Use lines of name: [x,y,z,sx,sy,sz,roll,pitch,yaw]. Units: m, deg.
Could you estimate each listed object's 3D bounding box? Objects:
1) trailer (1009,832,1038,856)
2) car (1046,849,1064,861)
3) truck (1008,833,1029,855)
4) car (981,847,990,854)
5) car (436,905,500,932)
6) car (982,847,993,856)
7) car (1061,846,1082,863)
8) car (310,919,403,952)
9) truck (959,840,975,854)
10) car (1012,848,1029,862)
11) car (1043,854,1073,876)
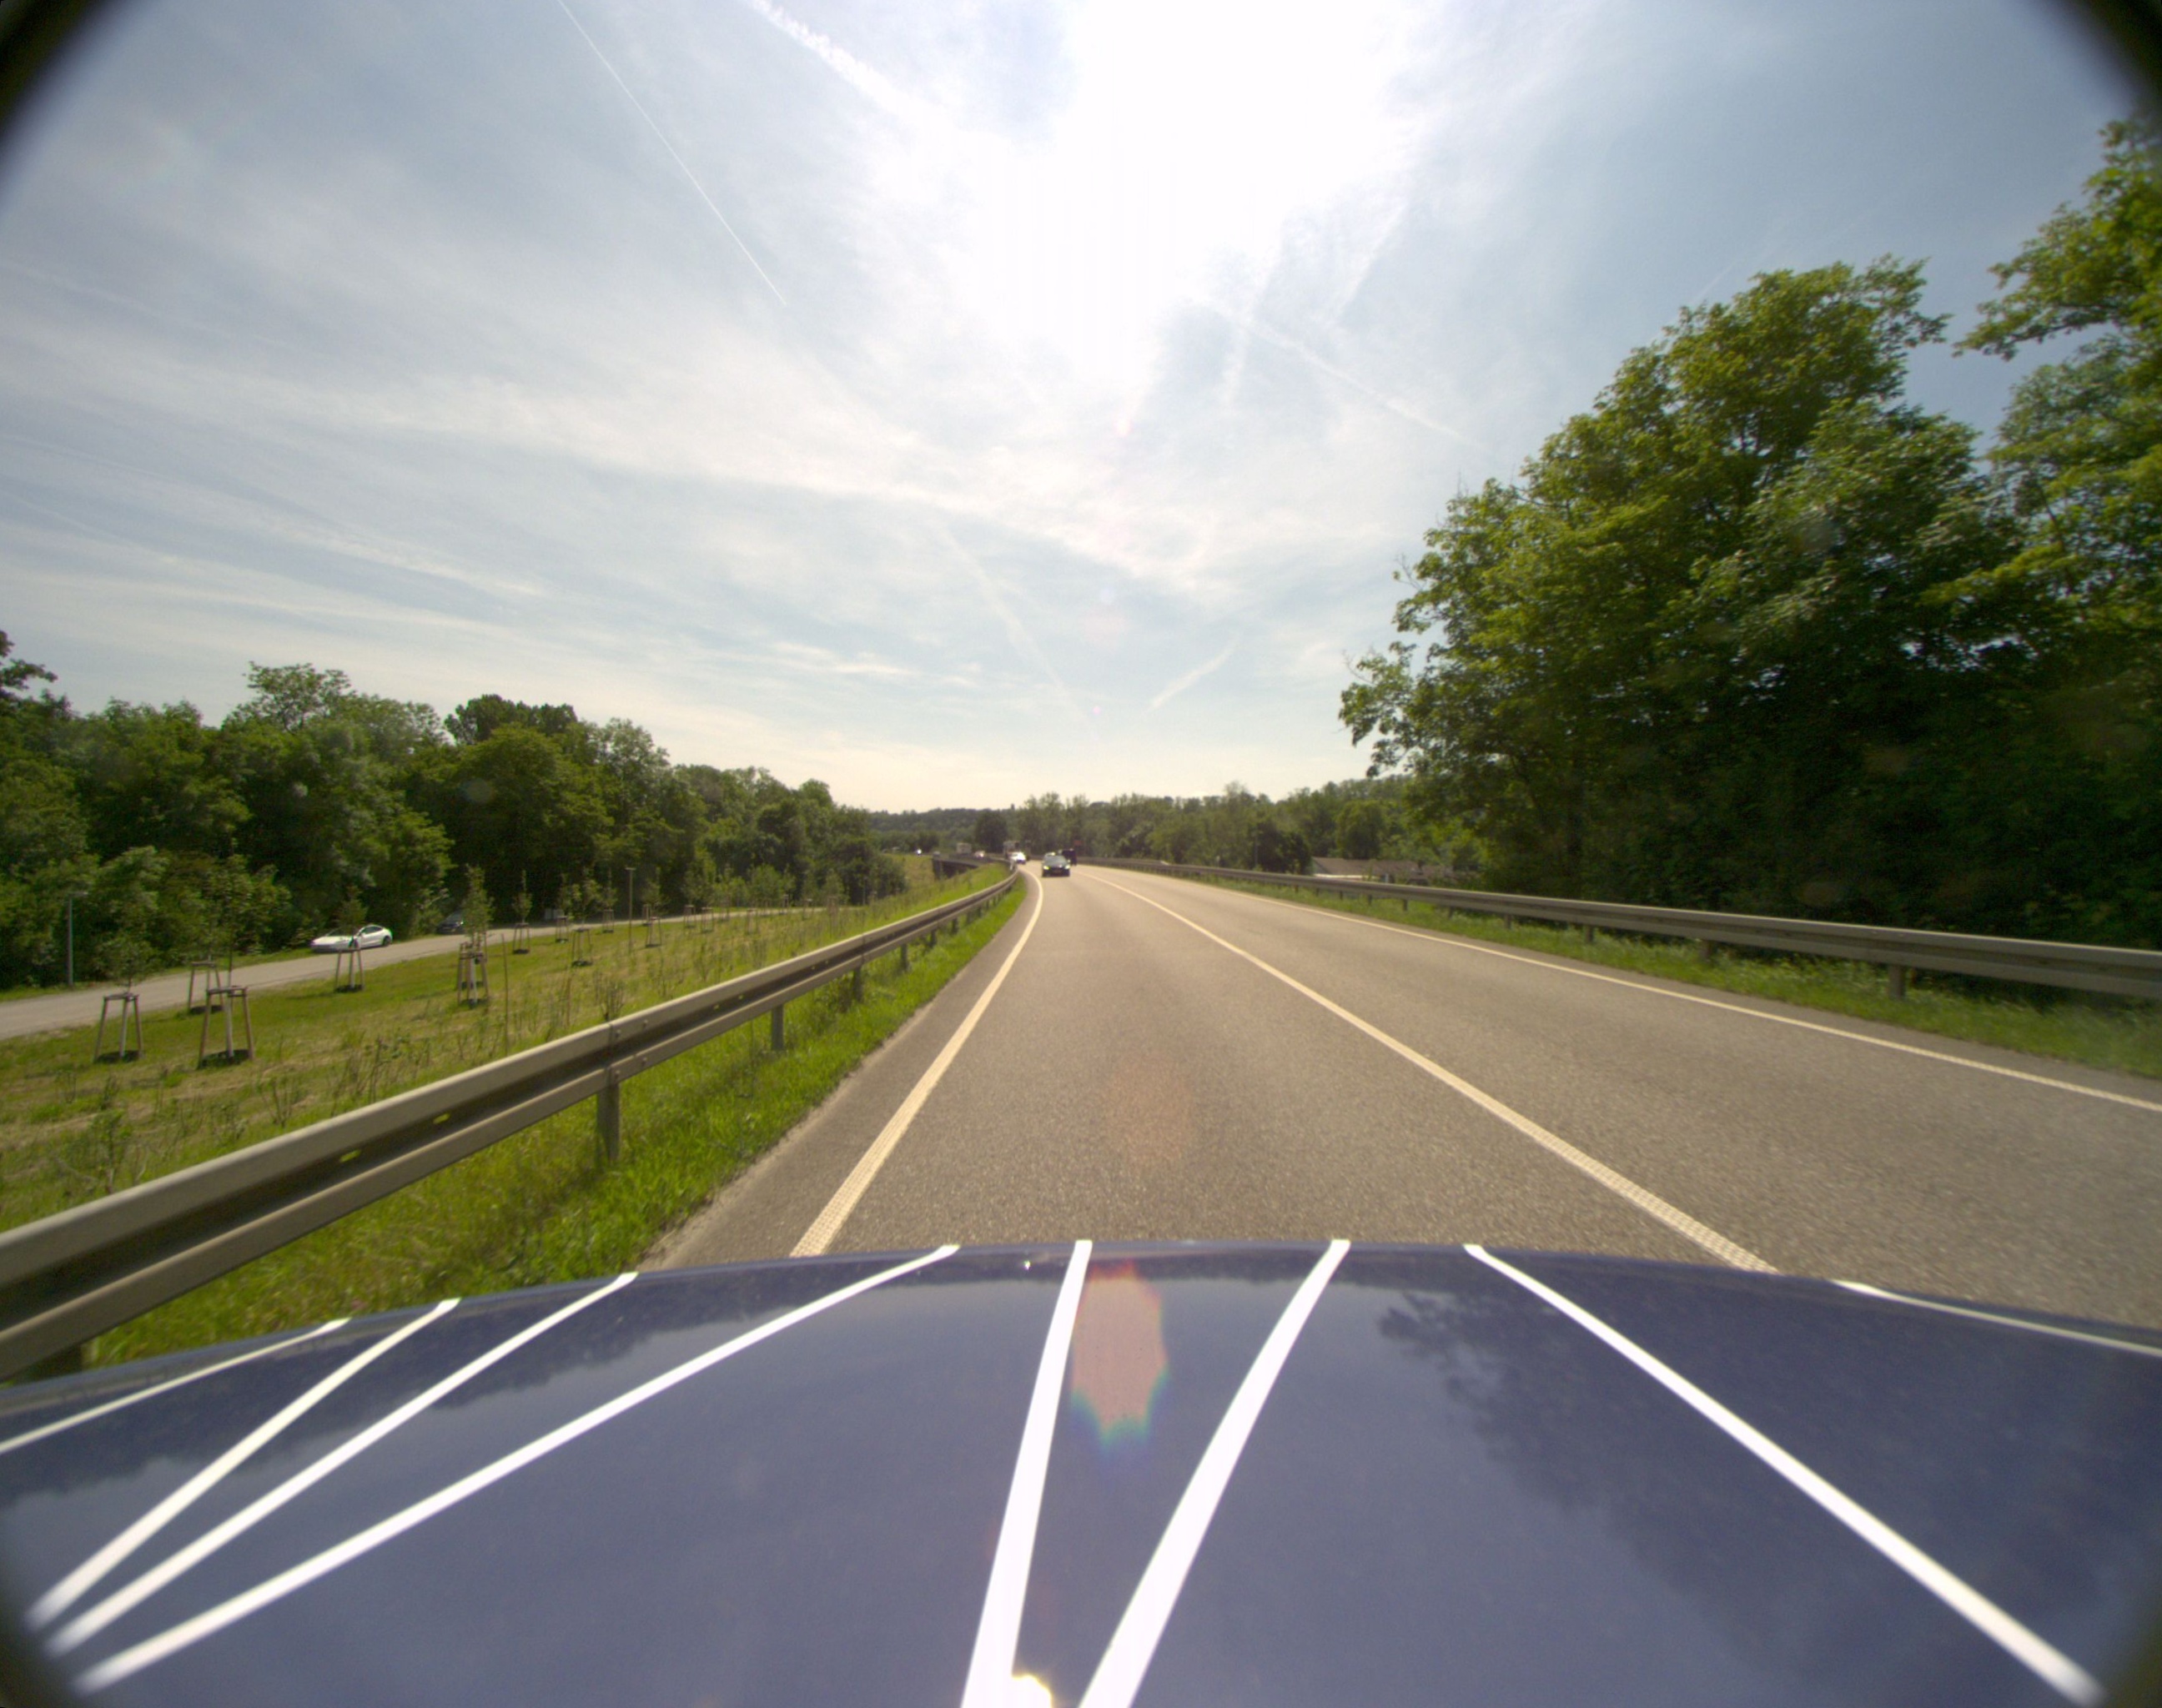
trailer: [-10.410,-1.742,136.186,3.129,3.957,15.338,-1,1,-11]
car: [-3.537,0.104,101.325,1.774,1.485,4.165,-2,1,-10]
truck: [-11.697,-1.814,142.607,3.129,3.935,6.614,-1,1,-11]
car: [-22.765,-0.832,181.701,1.764,1.503,3.994,-2,2,-13]
car: [-45.860,4.826,56.981,1.864,1.672,4.196,2,-1,-10]
car: [-19.265,-0.453,156.347,1.982,1.723,3.994,-2,2,-13]
car: [-1.106,0.045,86.927,1.928,1.849,5.172,-2,1,-6]
car: [-43.628,4.877,45.921,1.864,1.474,4.603,2,-1,-12]
truck: [-30.478,-1.809,203.022,2.926,3.781,9.694,-2,1,-16]
car: [-8.263,0.051,103.507,1.982,1.779,3.996,-2,1,-9]
car: [-1.632,0.753,52.154,1.981,1.333,3.998,-1,1,-3]
